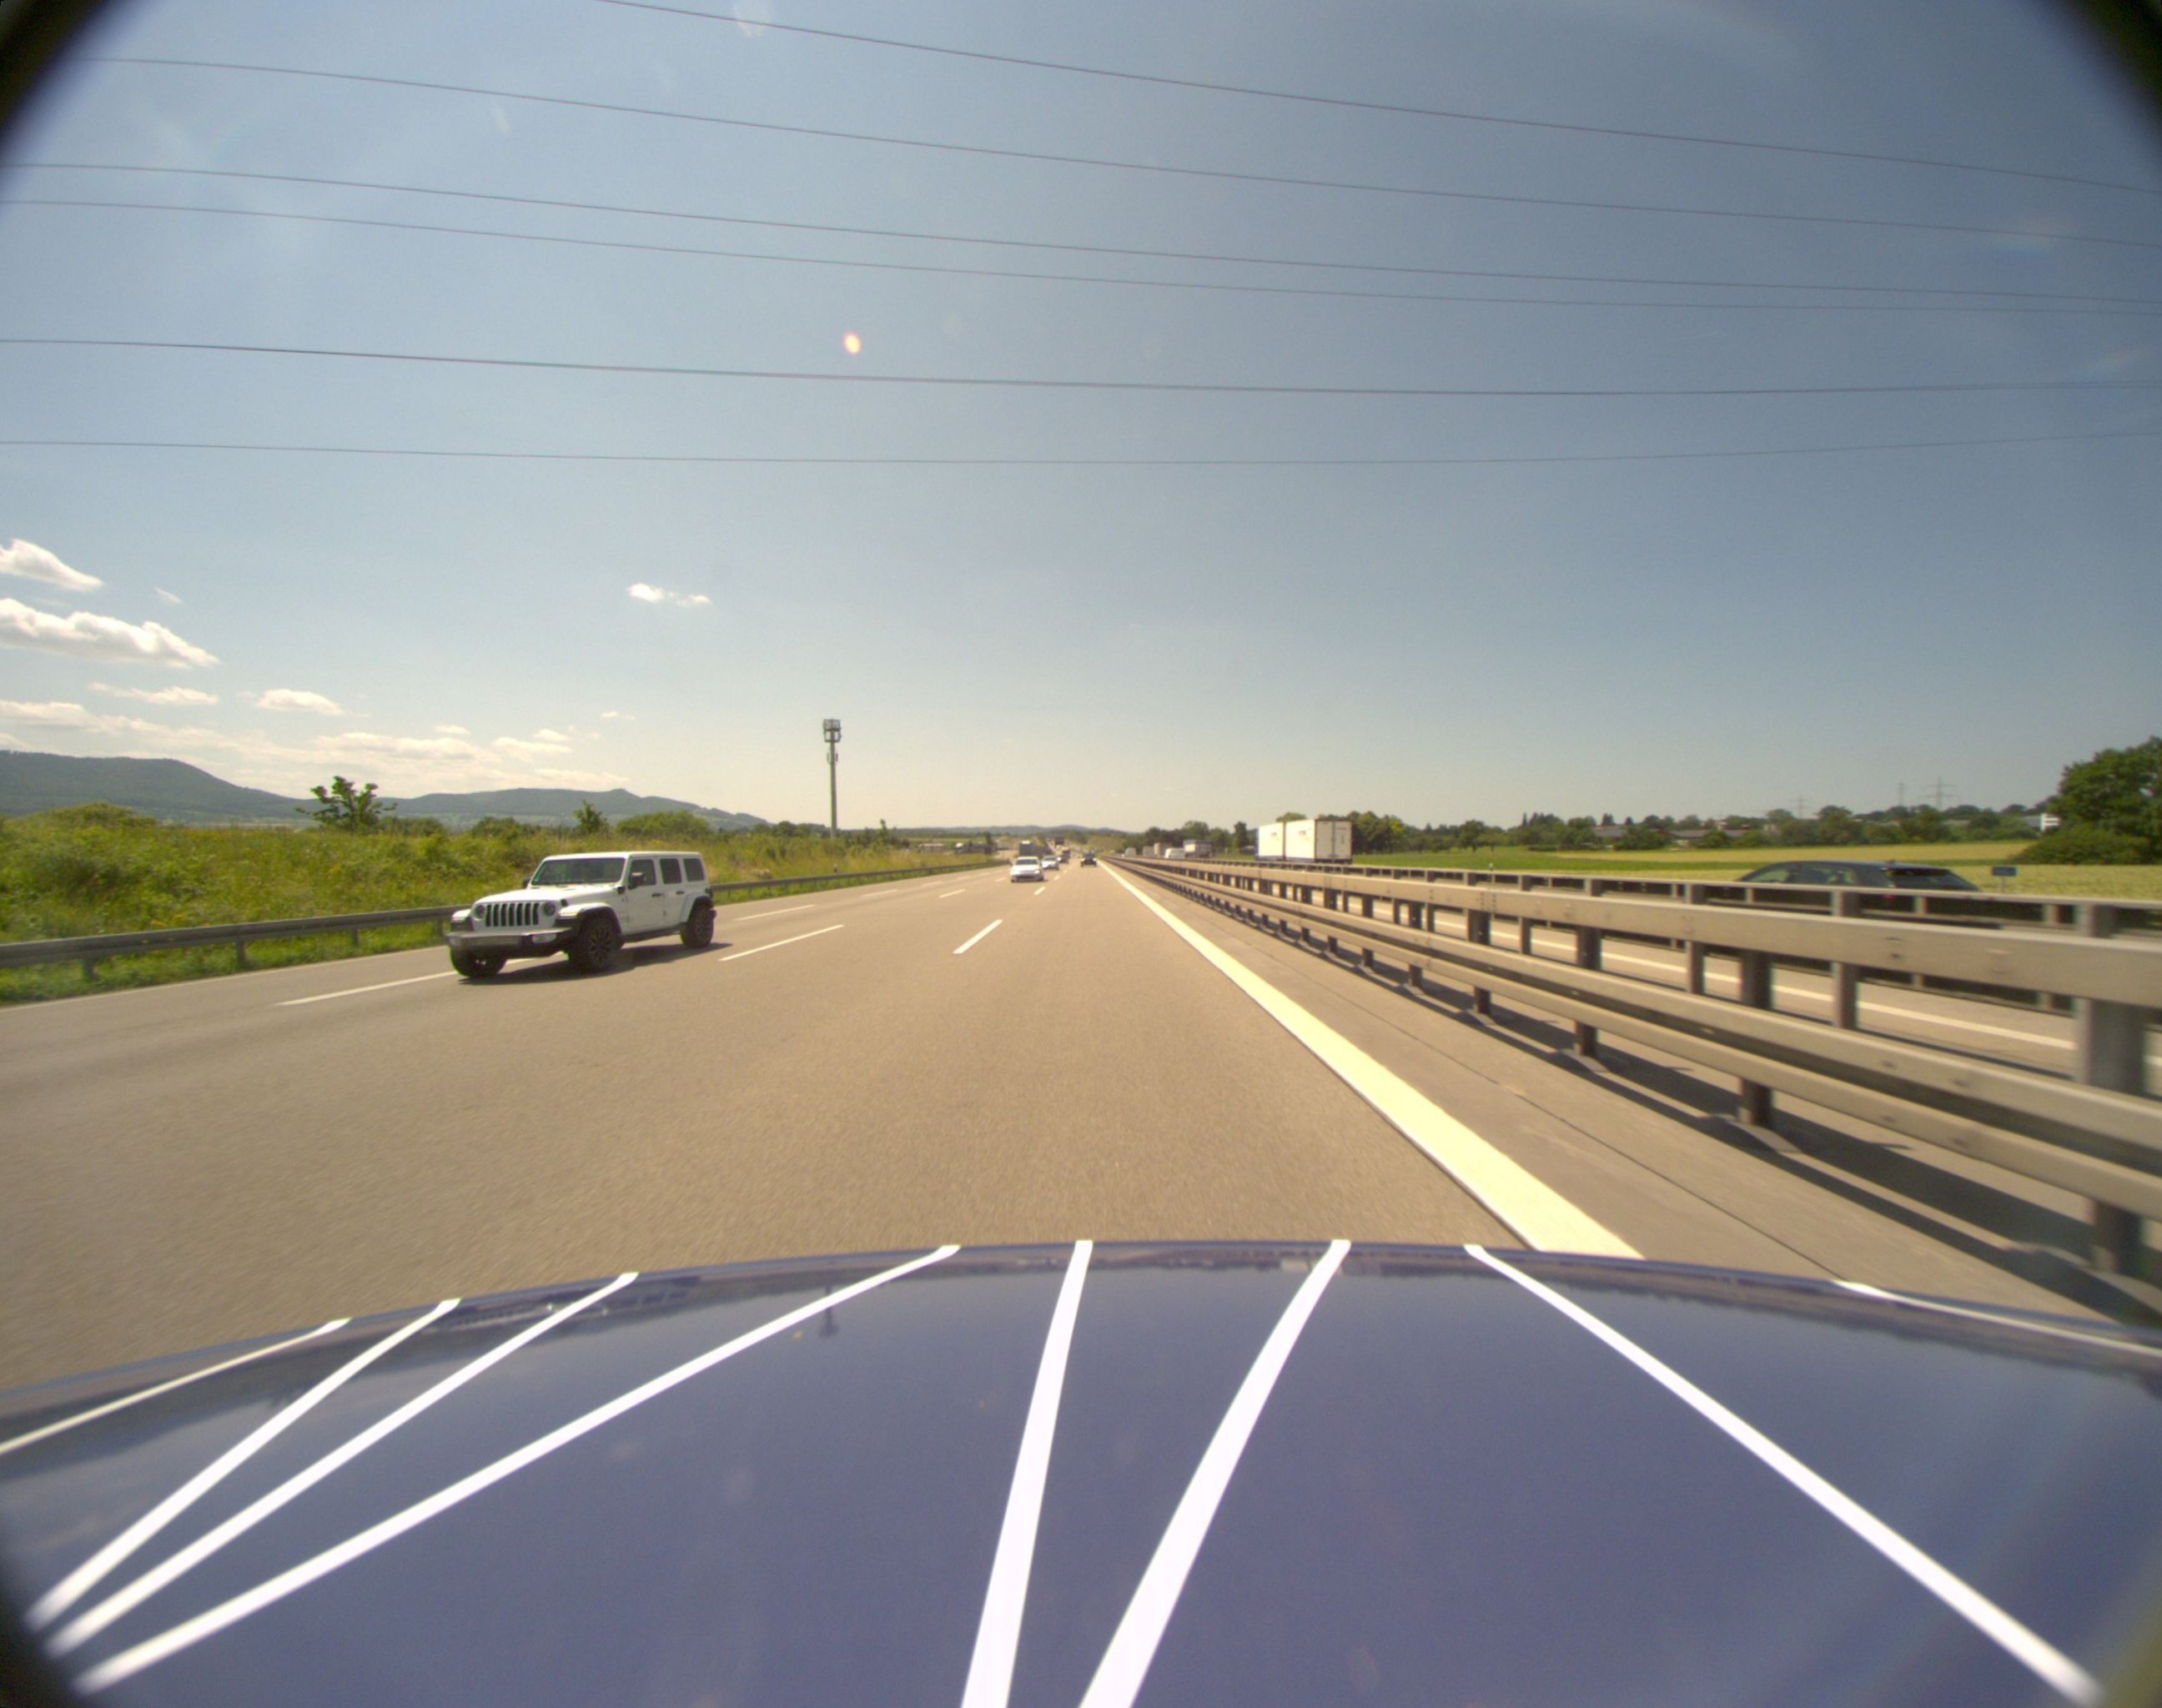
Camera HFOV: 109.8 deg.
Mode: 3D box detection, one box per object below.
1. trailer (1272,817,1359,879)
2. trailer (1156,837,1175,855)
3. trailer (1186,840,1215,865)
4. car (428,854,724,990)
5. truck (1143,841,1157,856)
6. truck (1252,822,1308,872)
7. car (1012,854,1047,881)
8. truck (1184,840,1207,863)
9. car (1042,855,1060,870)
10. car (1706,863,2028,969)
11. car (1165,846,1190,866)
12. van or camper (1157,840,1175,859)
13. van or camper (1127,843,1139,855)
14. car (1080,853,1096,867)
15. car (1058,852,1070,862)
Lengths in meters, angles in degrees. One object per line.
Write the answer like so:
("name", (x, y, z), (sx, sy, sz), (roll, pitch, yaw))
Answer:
("trailer", (17.239, -0.484, 56.931), (2.840, 4.023, 11.664), (-2, 1, 0))
("trailer", (19.917, -1.964, 179.681), (2.965, 3.895, 12.892), (-2, 1, 1))
("trailer", (18.748, -0.332, 119.632), (2.713, 3.671, 11.357), (-2, 1, 0))
("car", (-8.049, 0.956, 12.732), (2.040, 1.794, 4.250), (-2, 1, 0))
("truck", (14.779, -1.229, 163.228), (2.255, 2.992, 7.427), (1, 1, 1))
("truck", (17.279, -0.611, 66.522), (2.828, 4.066, 7.530), (-2, 1, 0))
("car", (-3.056, 0.779, 45.838), (1.780, 1.425, 4.690), (-2, 1, 0))
("truck", (18.749, -0.423, 124.720), (2.725, 3.669, 6.055), (-2, 1, 0))
("car", (-2.932, 0.821, 75.629), (1.634, 1.381, 3.999), (-2, 1, -1))
("car", (12.479, 0.888, 12.436), (1.486, 1.417, 3.609), (1, 0, -1))
("car", (10.158, 0.210, 80.371), (1.989, 1.998, 4.649), (1, 0, 1))
("van or camper", (14.840, -0.813, 132.735), (2.346, 3.147, 7.401), (0, 0, 1))
("van or camper", (10.980, -1.078, 160.932), (2.128, 2.560, 6.121), (-2, 1, 1))
("car", (0.780, 0.692, 88.828), (1.751, 1.439, 3.999), (-2, 0, -1))
("car", (-2.706, 0.434, 122.139), (1.751, 1.559, 3.999), (-2, 1, -1))
